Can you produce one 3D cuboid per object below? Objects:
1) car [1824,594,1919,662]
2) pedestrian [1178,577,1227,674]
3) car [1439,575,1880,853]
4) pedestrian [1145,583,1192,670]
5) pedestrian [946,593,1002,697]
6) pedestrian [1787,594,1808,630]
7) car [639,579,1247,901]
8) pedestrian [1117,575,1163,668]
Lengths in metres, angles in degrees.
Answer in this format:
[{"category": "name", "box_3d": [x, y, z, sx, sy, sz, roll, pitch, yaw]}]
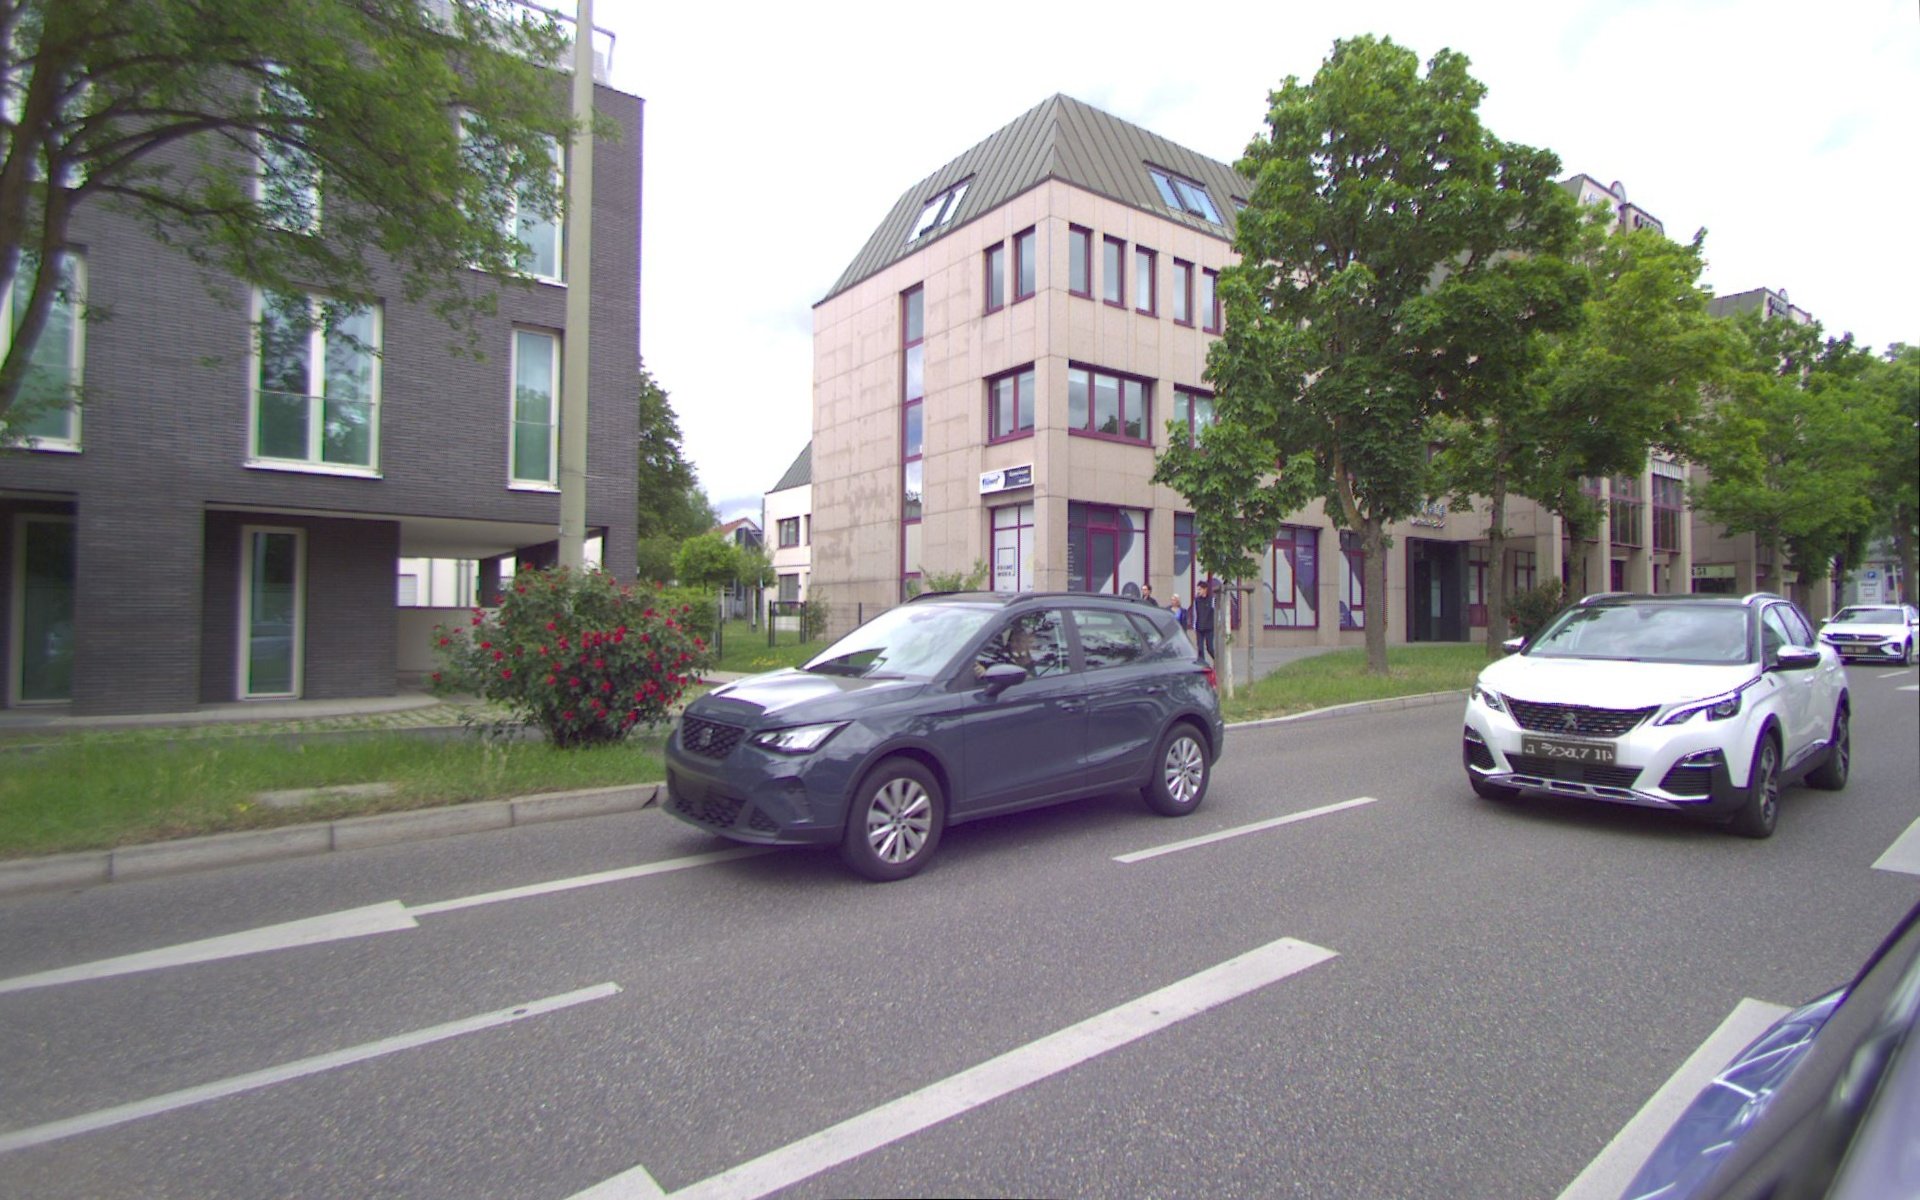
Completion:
[{"category": "car", "box_3d": [23.346, 0.646, 25.490, 4.016, 1.575, 1.720, 0, 0, -39]}, {"category": "pedestrian", "box_3d": [4.691, 0.476, 19.598, 0.665, 1.828, 0.642, 0, -1, -41]}, {"category": "car", "box_3d": [5.659, 0.647, 7.977, 4.238, 1.616, 1.858, 0, 1, -41]}, {"category": "pedestrian", "box_3d": [4.136, 0.514, 20.080, 0.665, 1.668, 0.642, 0, -1, -41]}, {"category": "pedestrian", "box_3d": [0.220, 0.677, 15.633, 0.665, 1.537, 0.496, 0, 2, -41]}, {"category": "pedestrian", "box_3d": [42.230, 0.592, 51.035, 0.818, 1.769, 0.718, 0, 0, -42]}, {"category": "car", "box_3d": [0.086, 0.641, 6.745, 3.931, 1.531, 1.660, -1, 0, -41]}, {"category": "pedestrian", "box_3d": [3.661, 0.427, 20.549, 0.665, 1.828, 0.642, 0, -1, -41]}]
